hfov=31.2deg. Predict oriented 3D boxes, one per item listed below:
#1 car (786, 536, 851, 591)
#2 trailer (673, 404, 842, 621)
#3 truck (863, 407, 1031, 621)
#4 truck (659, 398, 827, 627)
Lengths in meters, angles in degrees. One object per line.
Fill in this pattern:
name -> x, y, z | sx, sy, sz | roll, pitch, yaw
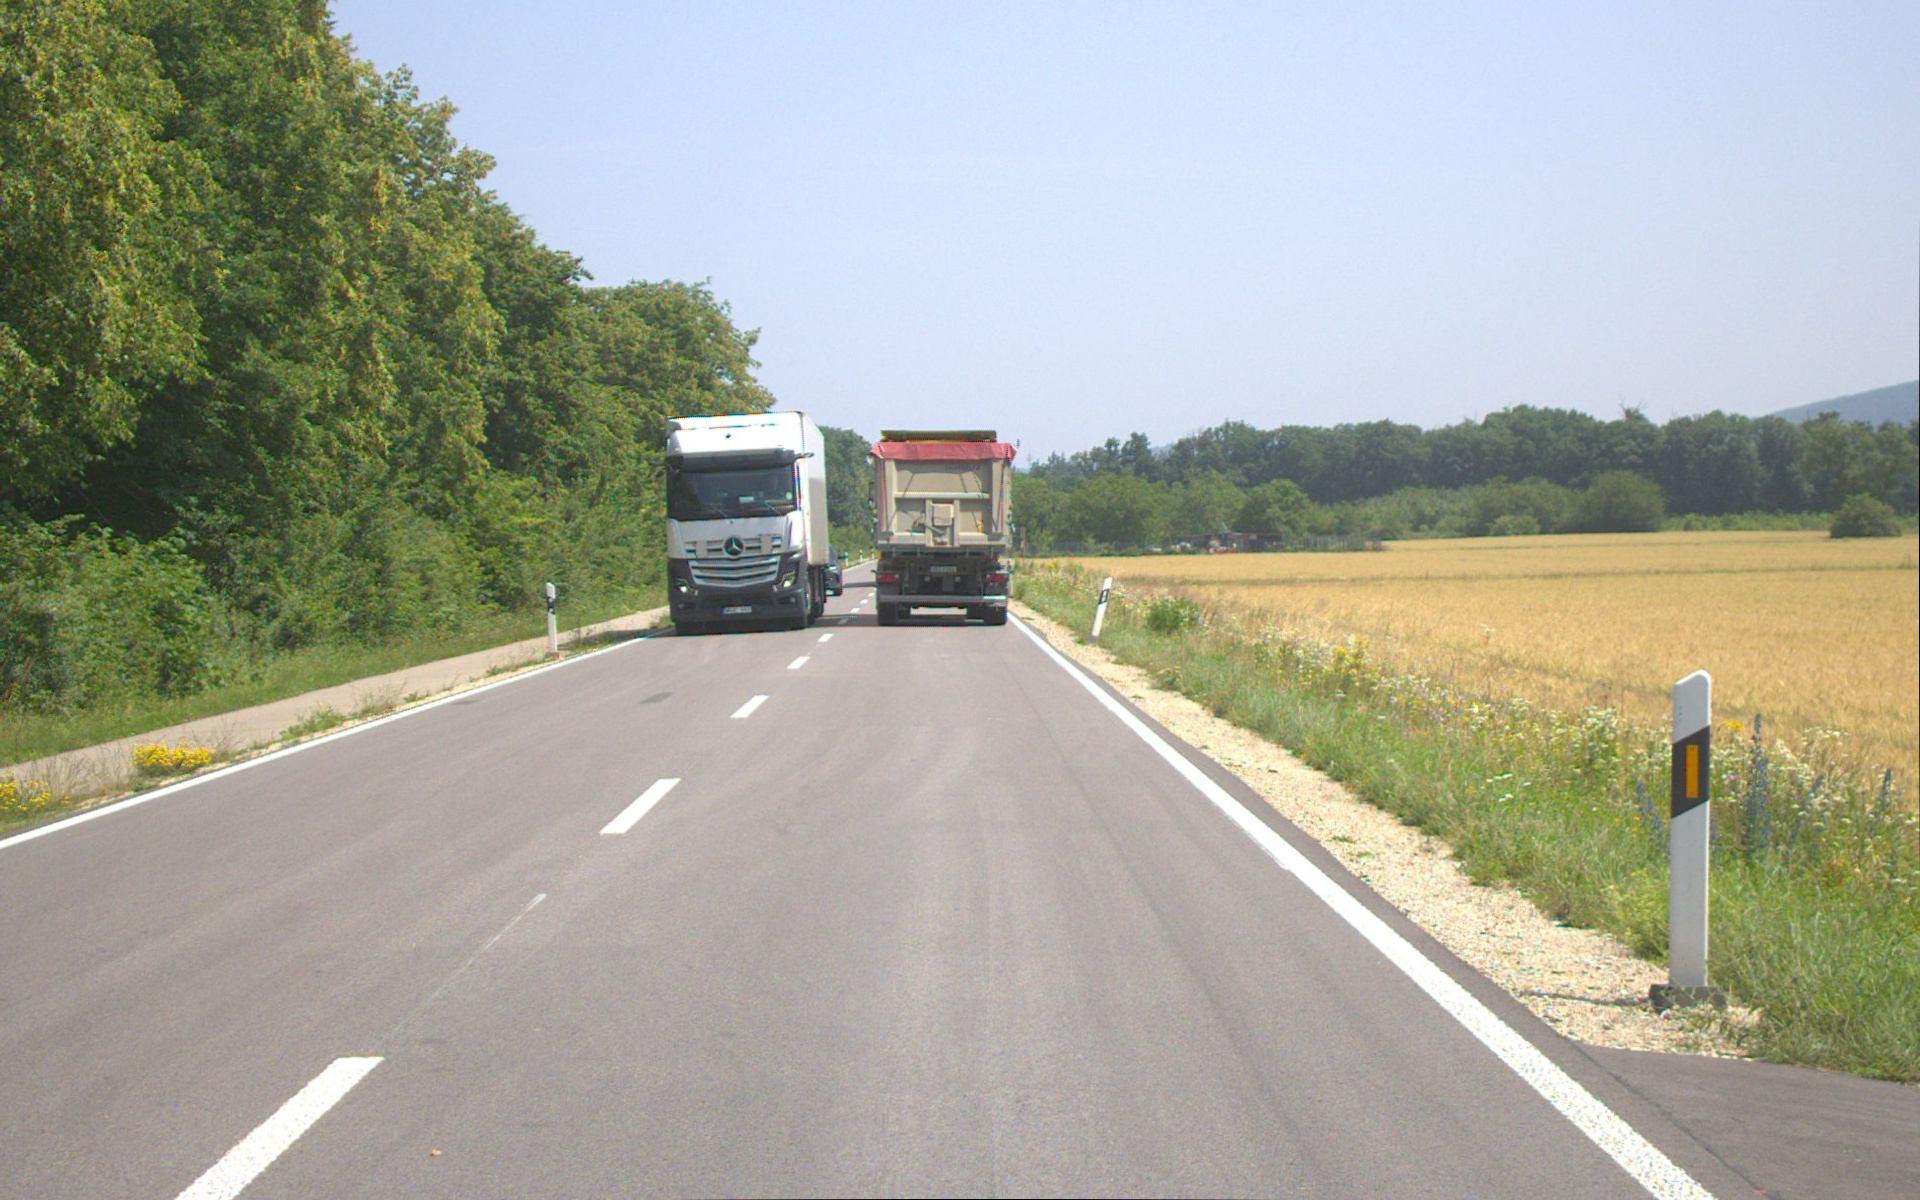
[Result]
car -> -4.313, -1.140, 105.290 | 1.792, 1.568, 4.479 | -2, 1, -1
trailer -> -4.027, -1.770, 71.161 | 2.653, 3.963, 13.355 | -2, 1, 0
truck -> -0.278, -1.634, 68.834 | 3.009, 3.861, 12.209 | 1, 1, 0
truck -> -3.960, -1.606, 63.894 | 2.656, 3.963, 5.727 | -2, 1, 0
